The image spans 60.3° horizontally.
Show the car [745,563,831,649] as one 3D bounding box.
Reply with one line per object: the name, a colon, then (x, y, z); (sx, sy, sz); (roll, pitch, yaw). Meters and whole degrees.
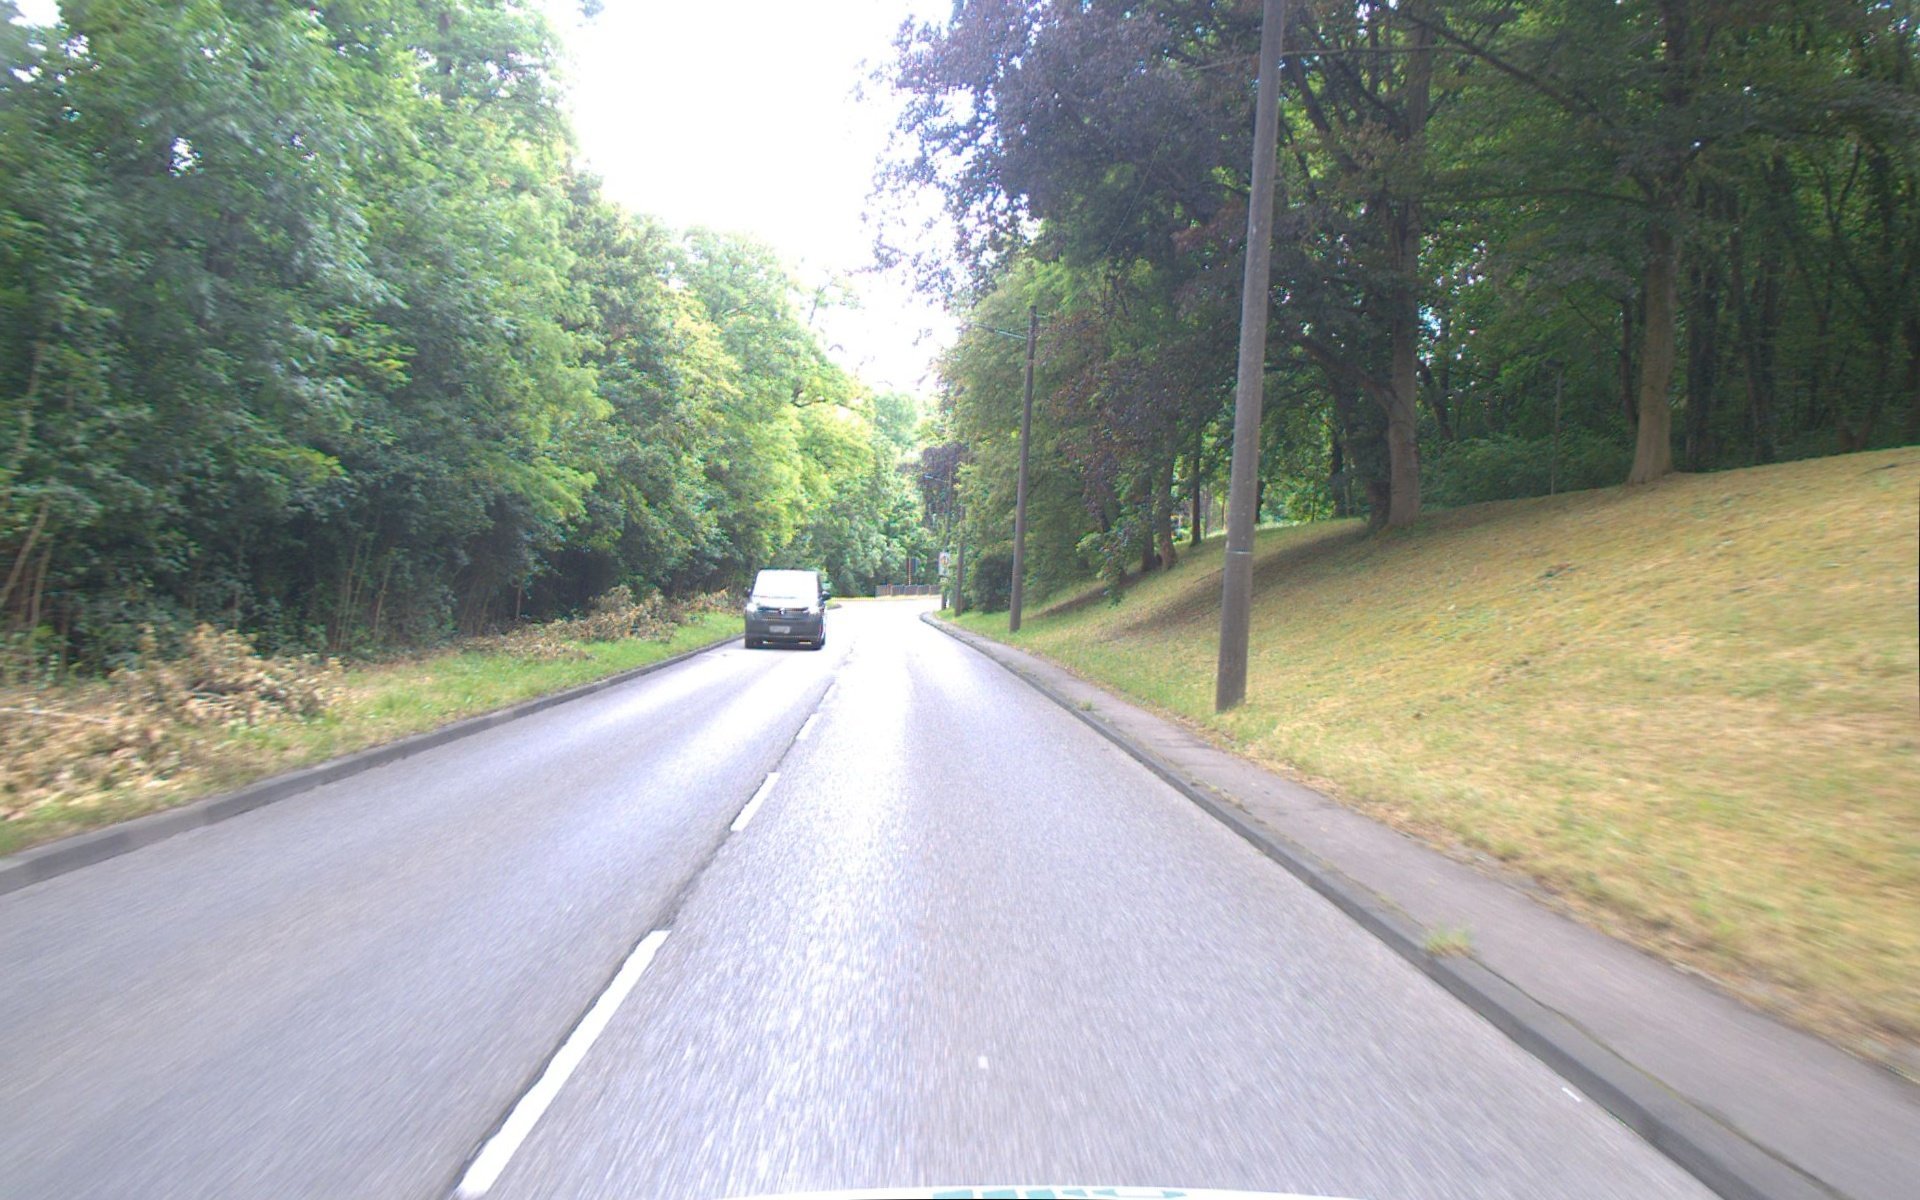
car: (-4.256, 0.148, 41.572); (1.954, 1.982, 4.941); (2, 0, -4)
